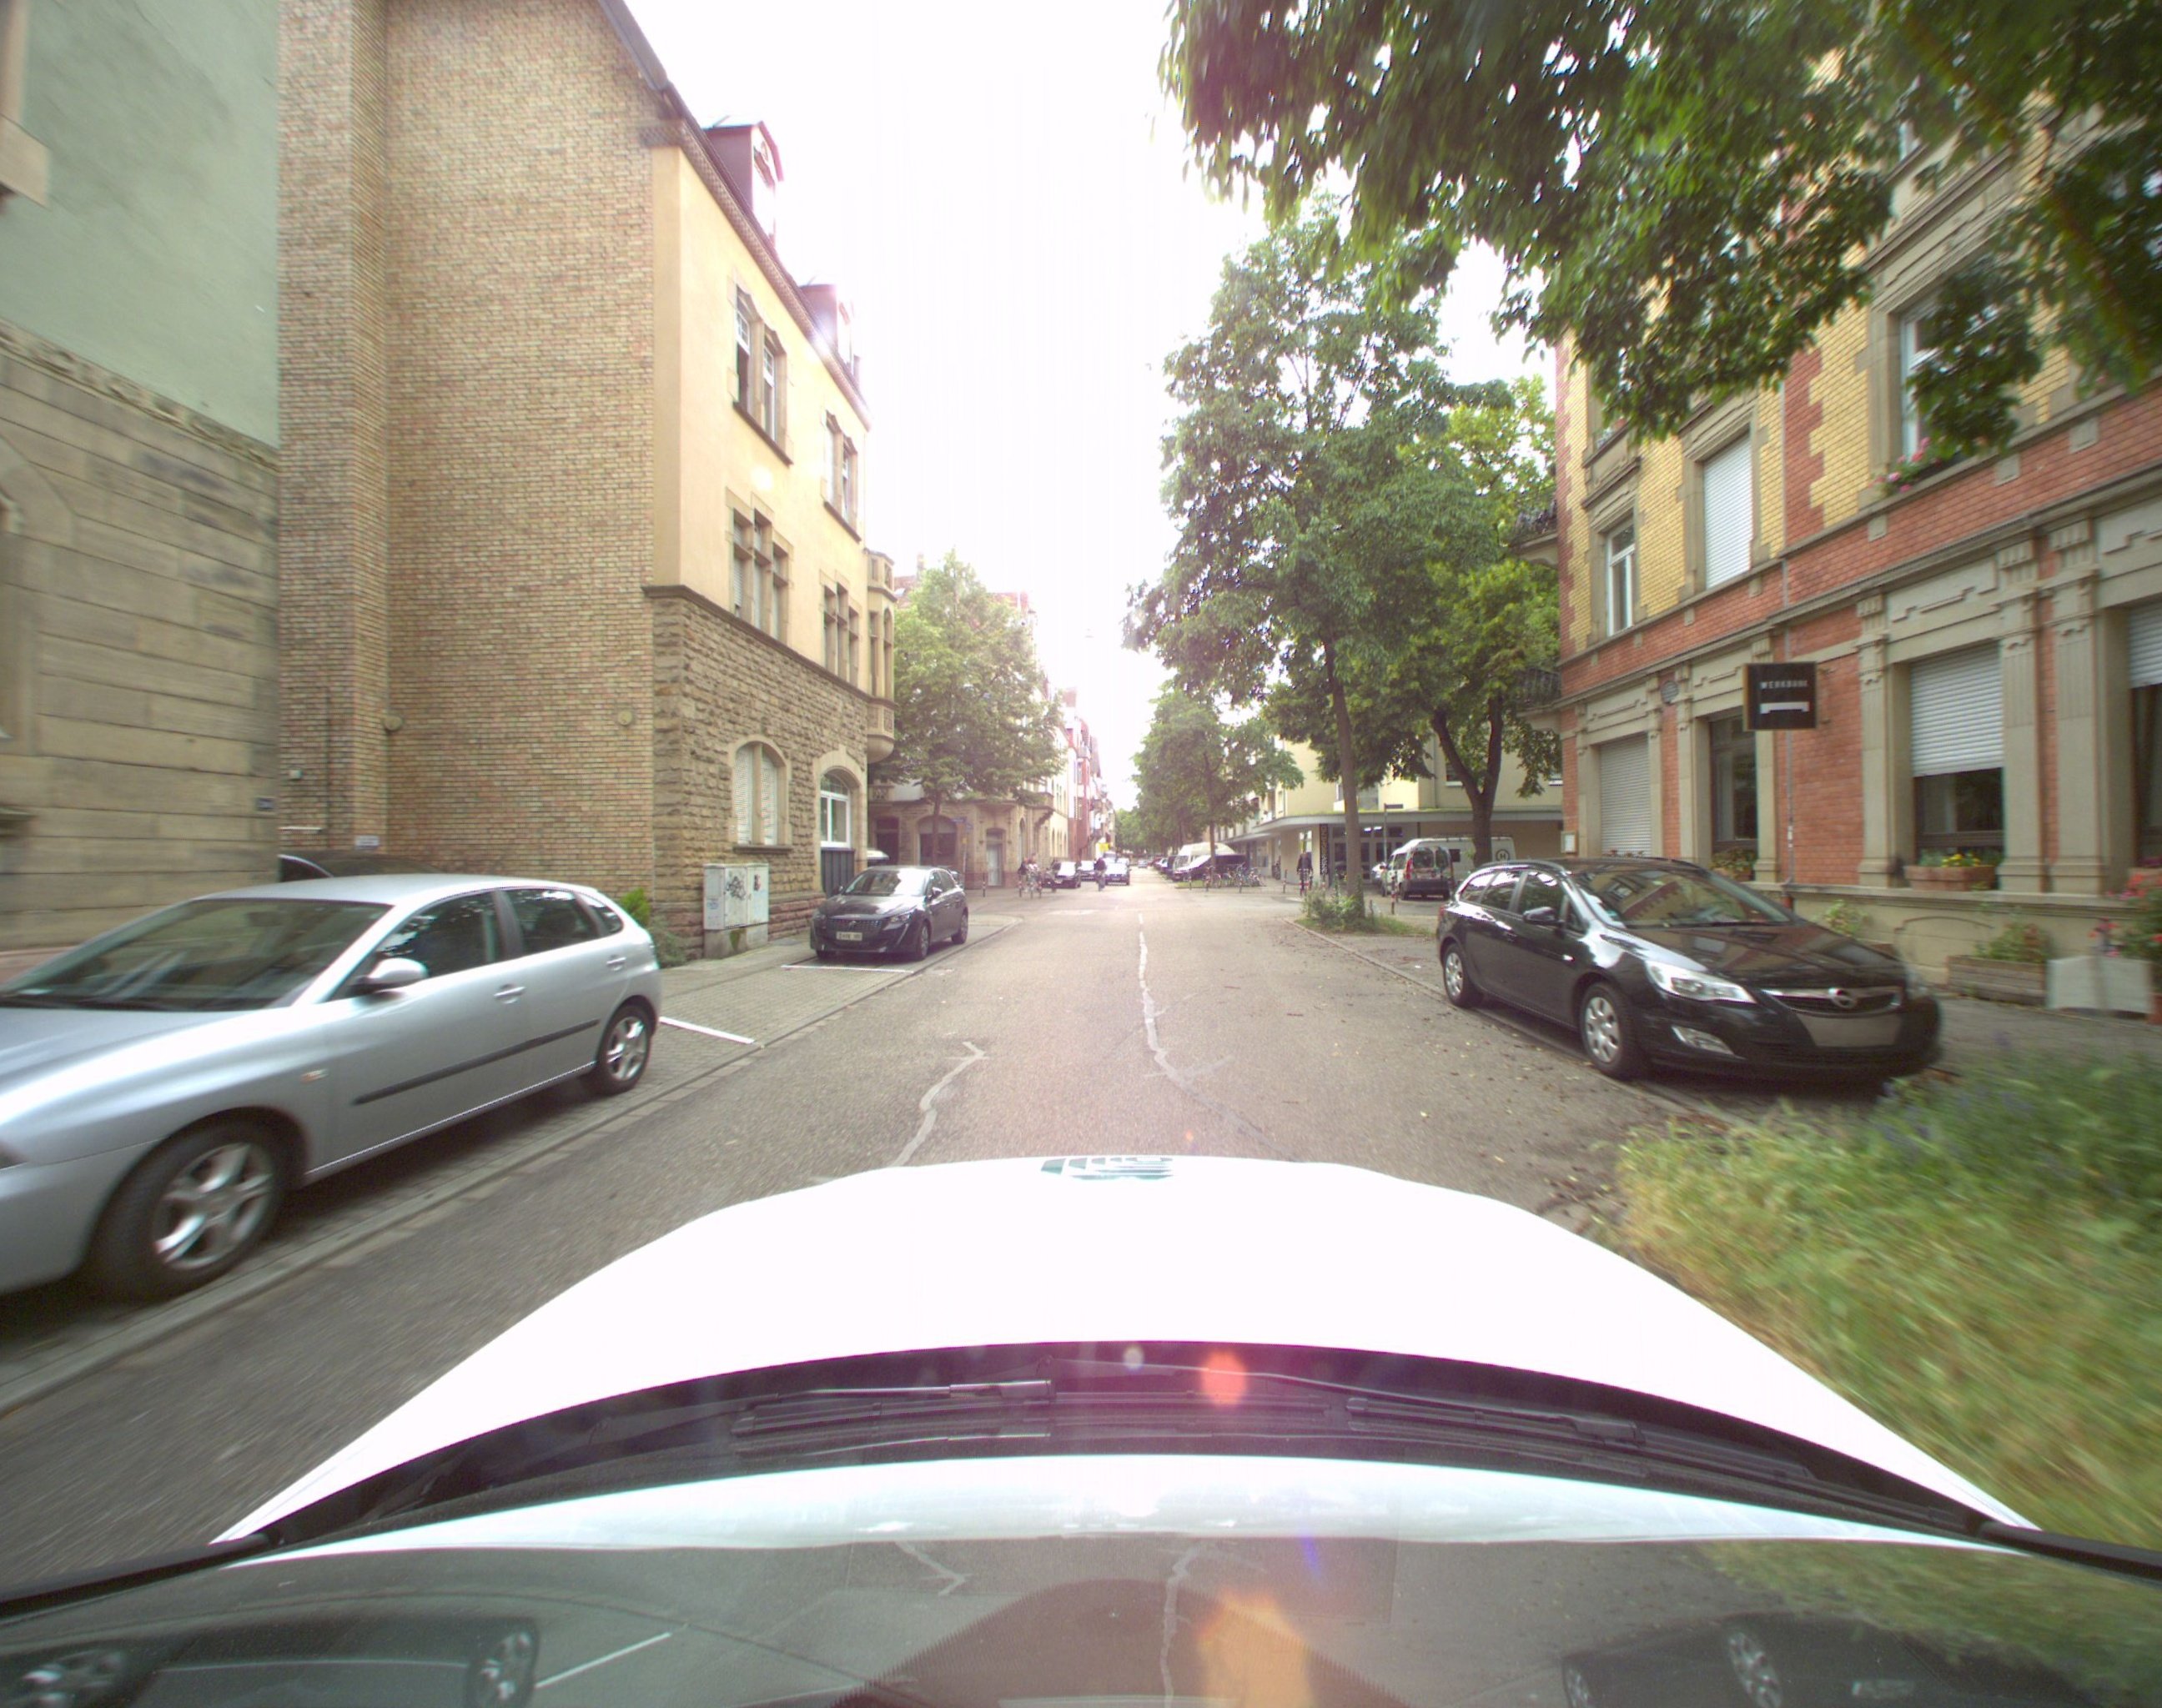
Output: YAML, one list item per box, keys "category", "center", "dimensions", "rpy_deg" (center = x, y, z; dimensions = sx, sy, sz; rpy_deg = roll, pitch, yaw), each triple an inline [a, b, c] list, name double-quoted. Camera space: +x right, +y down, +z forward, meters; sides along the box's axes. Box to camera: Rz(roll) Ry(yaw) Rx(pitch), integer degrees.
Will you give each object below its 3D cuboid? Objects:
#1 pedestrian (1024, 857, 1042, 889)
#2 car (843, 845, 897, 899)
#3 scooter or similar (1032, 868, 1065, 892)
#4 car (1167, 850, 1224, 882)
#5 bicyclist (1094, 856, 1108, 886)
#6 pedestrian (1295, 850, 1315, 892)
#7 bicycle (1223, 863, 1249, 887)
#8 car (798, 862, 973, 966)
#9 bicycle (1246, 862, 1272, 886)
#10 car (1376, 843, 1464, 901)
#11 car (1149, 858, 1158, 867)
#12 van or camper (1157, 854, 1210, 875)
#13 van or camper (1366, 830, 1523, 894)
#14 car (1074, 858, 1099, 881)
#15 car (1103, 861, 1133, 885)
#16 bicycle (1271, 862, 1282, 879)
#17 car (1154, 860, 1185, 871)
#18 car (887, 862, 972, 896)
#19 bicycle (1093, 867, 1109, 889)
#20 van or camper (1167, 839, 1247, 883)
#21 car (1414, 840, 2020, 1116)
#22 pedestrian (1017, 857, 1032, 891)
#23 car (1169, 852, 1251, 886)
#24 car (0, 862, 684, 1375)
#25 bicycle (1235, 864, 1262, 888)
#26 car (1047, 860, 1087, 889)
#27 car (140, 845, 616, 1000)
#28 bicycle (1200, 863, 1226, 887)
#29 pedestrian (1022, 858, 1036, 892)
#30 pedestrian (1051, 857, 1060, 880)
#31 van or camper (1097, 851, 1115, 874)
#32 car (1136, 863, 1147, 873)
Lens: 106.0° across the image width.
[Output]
- category: "pedestrian"
  center: [-2.408, 0.964, 41.193]
  dimensions: [0.673, 1.593, 0.624]
  rpy_deg: [0, -1, -45]
- category: "car"
  center: [-8.275, 0.679, 32.183]
  dimensions: [1.828, 1.968, 3.945]
  rpy_deg: [-1, -1, -12]
- category: "scooter or similar"
  center: [-1.605, 1.265, 39.888]
  dimensions: [1.458, 1.104, 0.679]
  rpy_deg: [1, 0, 16]
- category: "car"
  center: [8.234, 0.828, 58.316]
  dimensions: [2.040, 2.196, 4.426]
  rpy_deg: [-1, -1, 40]
- category: "bicyclist"
  center: [1.024, 0.866, 41.896]
  dimensions: [0.644, 1.538, 0.678]
  rpy_deg: [-2, -1, 6]
- category: "pedestrian"
  center: [9.614, 0.728, 34.949]
  dimensions: [0.775, 1.797, 0.510]
  rpy_deg: [0, -1, 6]
- category: "bicycle"
  center: [7.784, 1.062, 40.938]
  dimensions: [0.549, 1.173, 1.718]
  rpy_deg: [-1, 0, -17]
- category: "car"
  center: [-3.100, 0.886, 13.764]
  dimensions: [1.719, 1.434, 3.887]
  rpy_deg: [1, 0, 5]
- category: "bicycle"
  center: [9.039, 0.996, 41.399]
  dimensions: [0.549, 1.173, 1.688]
  rpy_deg: [-1, 0, -17]
- category: "car"
  center: [11.546, 0.593, 27.985]
  dimensions: [1.761, 1.819, 4.008]
  rpy_deg: [-1, 0, 7]
- category: "car"
  center: [16.689, 2.051, 188.383]
  dimensions: [1.985, 2.014, 4.004]
  rpy_deg: [2, 0, 4]
- category: "van or camper"
  center: [10.620, 1.073, 84.446]
  dimensions: [5.028, 1.869, 2.110]
  rpy_deg: [-2, -1, -24]
- category: "van or camper"
  center: [15.160, 0.309, 34.273]
  dimensions: [5.731, 2.494, 2.144]
  rpy_deg: [-1, 2, 13]
- category: "car"
  center: [0.405, 1.141, 59.637]
  dimensions: [1.639, 1.570, 2.960]
  rpy_deg: [1, 1, 3]
- category: "car"
  center: [2.392, 1.208, 51.733]
  dimensions: [1.700, 1.413, 3.857]
  rpy_deg: [-1, -2, 5]
- category: "bicycle"
  center: [12.848, 1.056, 53.528]
  dimensions: [0.482, 1.090, 1.704]
  rpy_deg: [-1, -1, 7]
- category: "car"
  center: [12.843, 1.641, 117.944]
  dimensions: [4.032, 1.559, 1.868]
  rpy_deg: [0, -1, -27]
- category: "car"
  center: [-7.231, 1.192, 39.036]
  dimensions: [3.543, 1.460, 1.656]
  rpy_deg: [-2, 1, 13]
- category: "bicycle"
  center: [1.040, 1.243, 41.874]
  dimensions: [0.630, 1.094, 1.802]
  rpy_deg: [-1, -1, 7]
- category: "van or camper"
  center: [7.751, 0.422, 49.979]
  dimensions: [4.608, 2.596, 1.893]
  rpy_deg: [-1, -1, -28]
- category: "car"
  center: [4.466, 0.717, 6.812]
  dimensions: [1.756, 1.486, 4.485]
  rpy_deg: [-3, -1, 4]
- category: "pedestrian"
  center: [-2.813, 0.988, 40.559]
  dimensions: [0.611, 1.643, 0.606]
  rpy_deg: [0, -1, 16]
- category: "car"
  center: [7.444, 0.841, 47.020]
  dimensions: [4.348, 1.854, 1.897]
  rpy_deg: [-1, -1, -21]
- category: "car"
  center: [-3.829, 0.790, 4.114]
  dimensions: [1.582, 1.434, 3.813]
  rpy_deg: [1, 0, 3]
- category: "bicycle"
  center: [8.439, 1.074, 41.077]
  dimensions: [0.549, 1.173, 1.718]
  rpy_deg: [-1, 0, -17]
- category: "car"
  center: [-0.737, 1.113, 44.885]
  dimensions: [1.701, 1.495, 4.006]
  rpy_deg: [1, -2, 6]
- category: "car"
  center: [-7.760, 0.721, 9.241]
  dimensions: [3.968, 1.564, 1.770]
  rpy_deg: [-1, -1, 4]
- category: "bicycle"
  center: [6.565, 1.034, 40.481]
  dimensions: [0.549, 1.173, 1.718]
  rpy_deg: [-1, 0, -17]
- category: "pedestrian"
  center: [-2.549, 1.014, 39.877]
  dimensions: [0.524, 1.643, 0.530]
  rpy_deg: [0, -1, 16]
- category: "pedestrian"
  center: [-1.702, 0.948, 54.836]
  dimensions: [0.513, 1.518, 0.547]
  rpy_deg: [-1, -1, 4]
- category: "van or camper"
  center: [3.269, 1.070, 105.673]
  dimensions: [1.999, 2.651, 5.324]
  rpy_deg: [-1, 2, 5]
- category: "car"
  center: [11.488, 2.669, 153.580]
  dimensions: [1.984, 1.794, 4.005]
  rpy_deg: [1, -2, 5]
